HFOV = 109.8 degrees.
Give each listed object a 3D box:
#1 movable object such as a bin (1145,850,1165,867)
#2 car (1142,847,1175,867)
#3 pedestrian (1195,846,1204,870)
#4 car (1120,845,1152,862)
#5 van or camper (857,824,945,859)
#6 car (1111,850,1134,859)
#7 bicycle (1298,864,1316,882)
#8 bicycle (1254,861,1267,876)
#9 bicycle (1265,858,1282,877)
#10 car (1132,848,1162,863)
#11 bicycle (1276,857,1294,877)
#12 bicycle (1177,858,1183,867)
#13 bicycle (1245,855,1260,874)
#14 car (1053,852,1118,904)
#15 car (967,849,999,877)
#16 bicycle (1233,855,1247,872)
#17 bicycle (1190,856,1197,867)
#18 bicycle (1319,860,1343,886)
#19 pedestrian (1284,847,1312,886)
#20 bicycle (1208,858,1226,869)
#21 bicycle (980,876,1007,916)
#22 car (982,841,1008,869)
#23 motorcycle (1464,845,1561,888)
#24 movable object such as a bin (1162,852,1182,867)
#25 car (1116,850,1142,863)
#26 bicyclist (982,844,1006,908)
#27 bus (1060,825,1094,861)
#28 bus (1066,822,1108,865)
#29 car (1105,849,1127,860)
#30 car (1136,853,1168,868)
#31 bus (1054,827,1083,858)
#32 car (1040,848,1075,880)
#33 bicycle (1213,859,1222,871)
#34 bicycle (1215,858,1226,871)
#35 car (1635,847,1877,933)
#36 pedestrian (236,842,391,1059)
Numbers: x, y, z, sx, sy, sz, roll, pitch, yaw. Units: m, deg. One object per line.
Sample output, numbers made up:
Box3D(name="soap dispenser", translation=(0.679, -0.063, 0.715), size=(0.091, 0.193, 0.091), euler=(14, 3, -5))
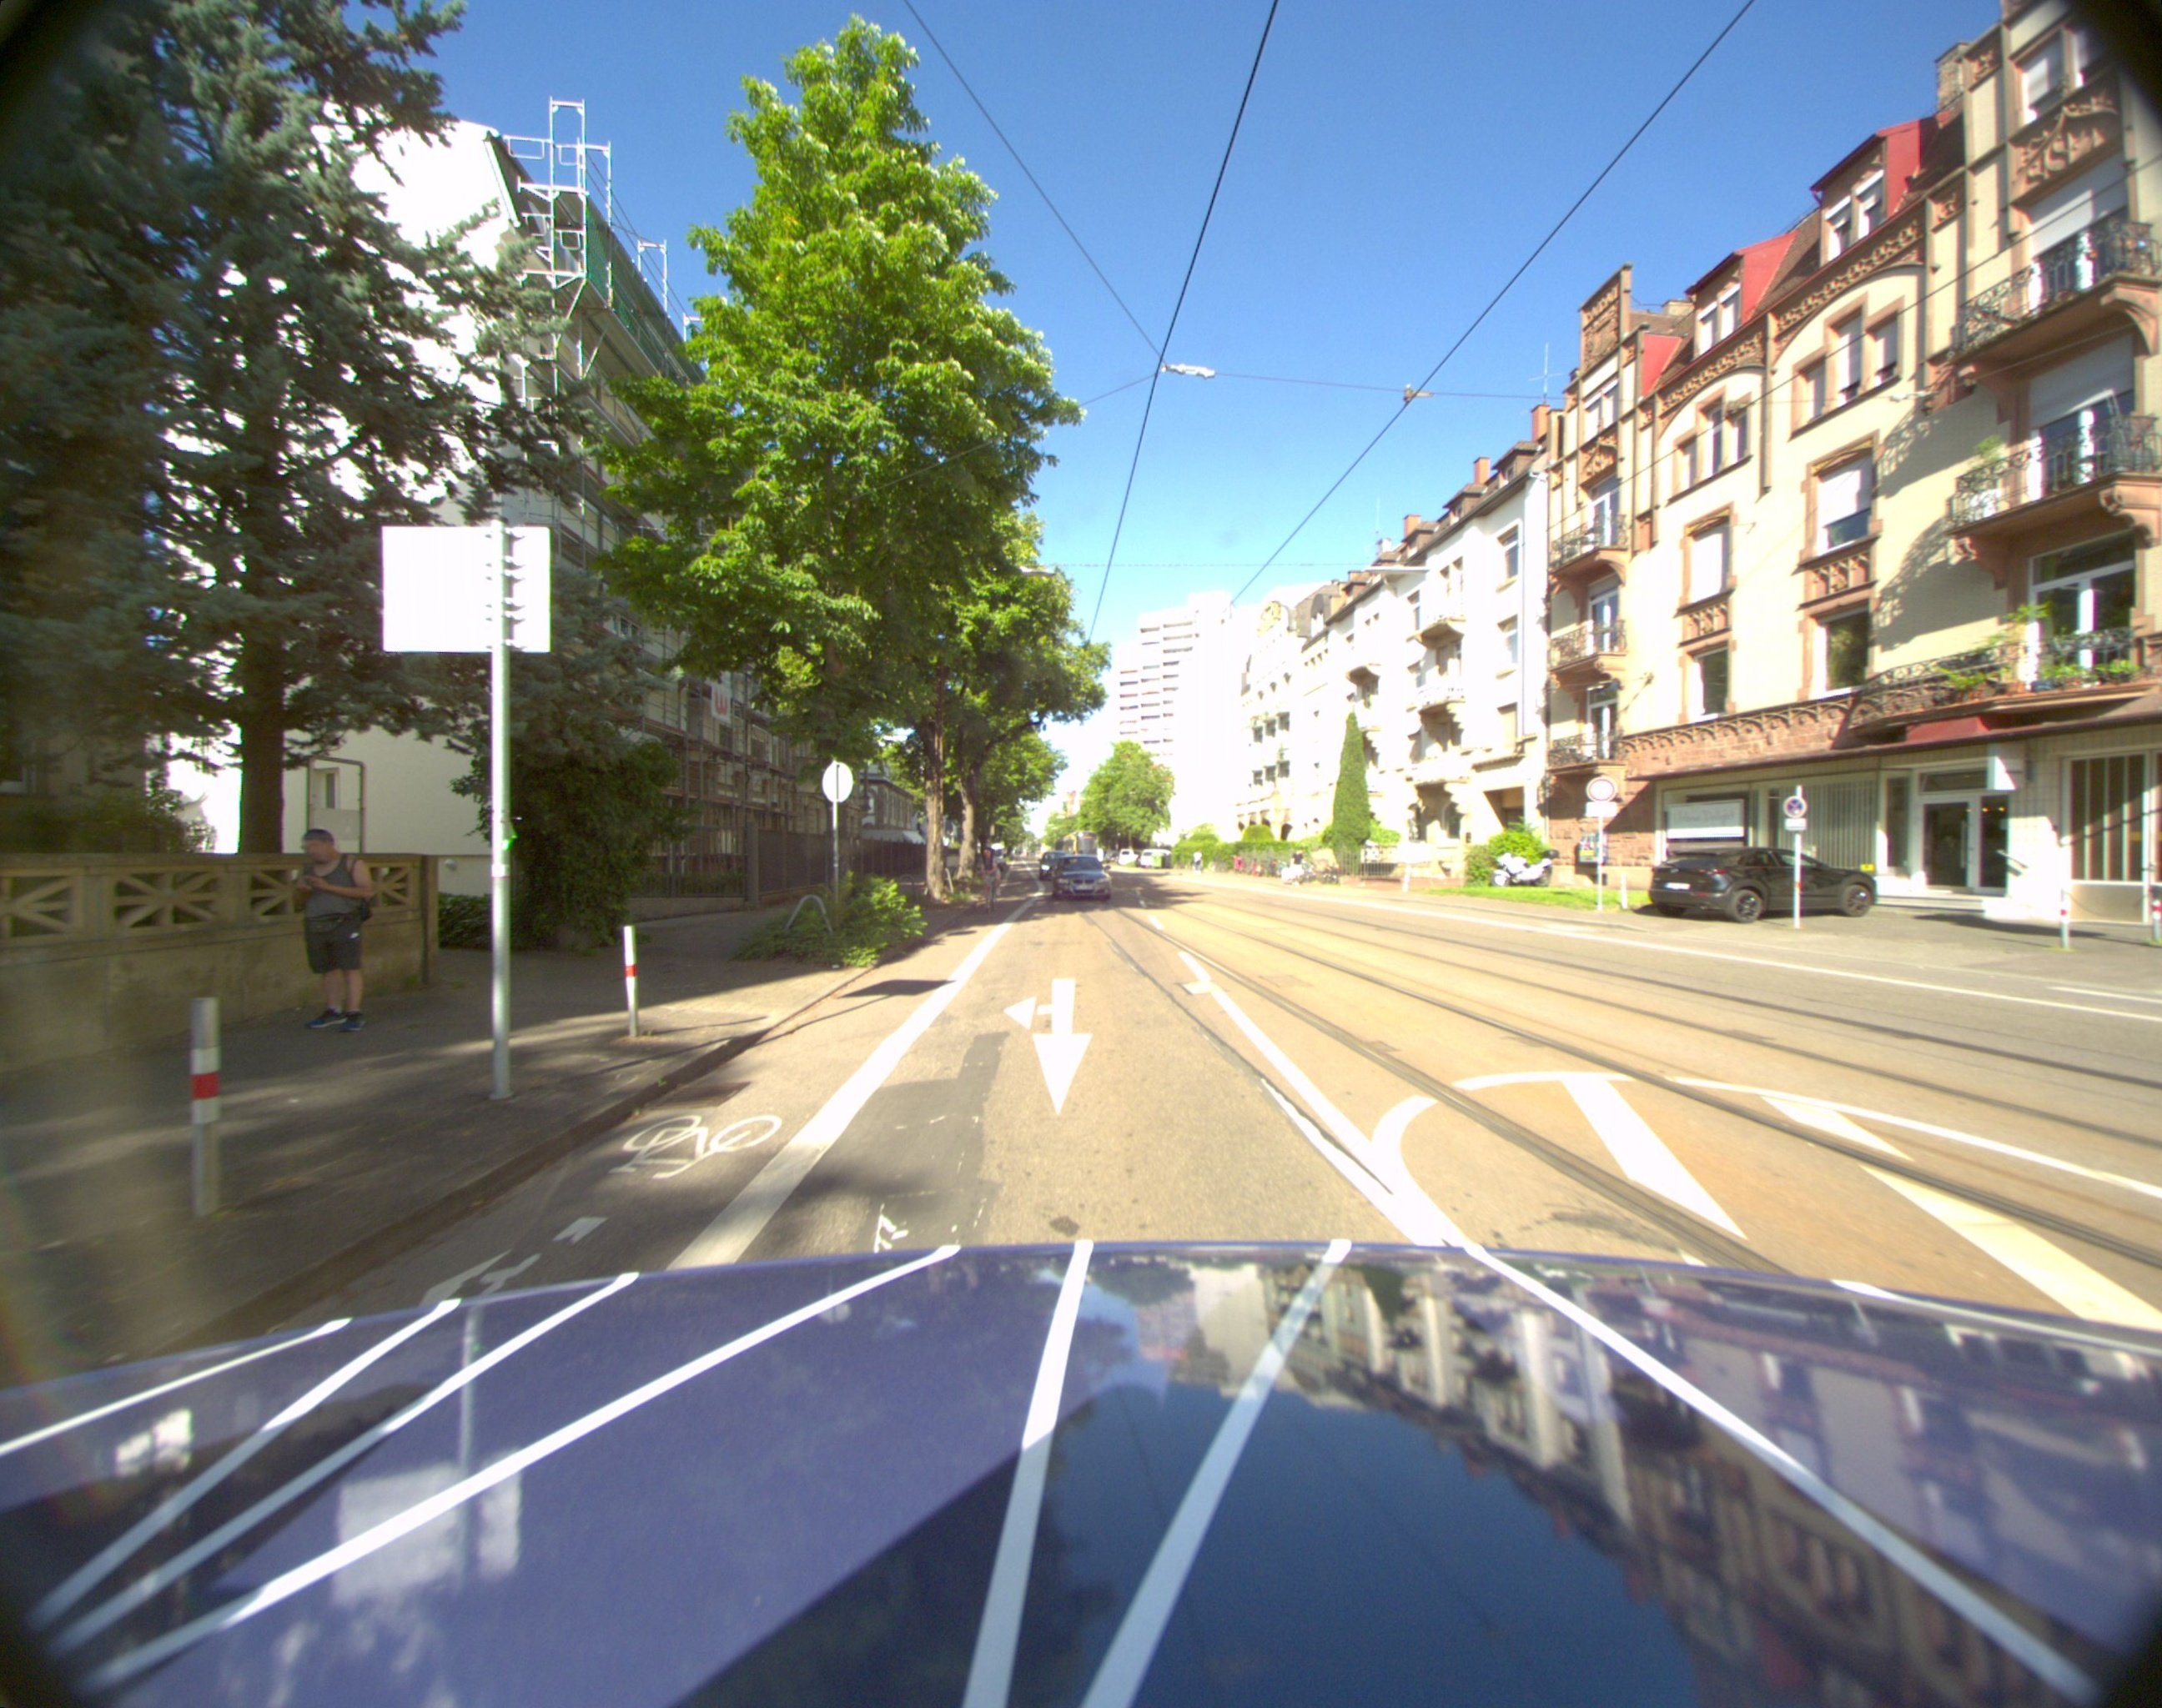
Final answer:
Box3D(name="movable object such as a bin", translation=(6.766, 0.383, 69.582), size=(1.513, 1.424, 2.095), euler=(-1, 1, -3))
Box3D(name="car", translation=(7.468, 0.297, 73.031), size=(1.456, 1.763, 3.194), euler=(0, -1, 42))
Box3D(name="pedestrian", translation=(8.199, 0.293, 52.685), size=(0.476, 1.619, 0.659), euler=(-1, 2, -3))
Box3D(name="car", translation=(6.301, -0.035, 86.444), size=(1.917, 1.860, 3.450), euler=(0, 2, 42))
Box3D(name="van or camper", translation=(-14.287, -0.962, 60.295), size=(6.722, 2.612, 2.126), euler=(-1, 2, 21))
Box3D(name="car", translation=(5.448, 0.087, 98.997), size=(2.758, 1.083, 1.225), euler=(-1, 2, -19))
Box3D(name="bicycle", translation=(10.506, 0.879, 35.354), size=(0.318, 0.757, 1.651), euler=(-1, 1, -2))
Box3D(name="bicycle", translation=(10.013, 0.817, 42.436), size=(0.318, 0.757, 1.542), euler=(-1, 1, -3))
Box3D(name="bicycle", translation=(10.299, 0.723, 40.657), size=(0.405, 0.937, 1.648), euler=(-1, 1, -3))
Box3D(name="car", translation=(6.915, 0.121, 79.335), size=(2.758, 1.427, 1.457), euler=(-1, 2, -19))
Box3D(name="bicycle", translation=(10.449, 0.667, 38.921), size=(0.405, 0.937, 1.748), euler=(-1, 1, -3))
Box3D(name="bicycle", translation=(8.320, 0.711, 63.880), size=(0.297, 0.757, 1.262), euler=(-1, 1, -3))
Box3D(name="bicycle", translation=(9.951, 0.586, 44.184), size=(0.405, 1.018, 1.815), euler=(-1, 1, -3))
Box3D(name="car", translation=(0.049, 0.713, 24.366), size=(1.870, 1.426, 3.998), euler=(-1, 1, -3))
Box3D(name="car", translation=(-6.111, 0.534, 47.667), size=(1.878, 1.534, 4.362), euler=(1, 1, -6))
Box3D(name="bicycle", translation=(9.700, 0.564, 46.477), size=(0.405, 1.018, 1.815), euler=(-1, 1, -3))
Box3D(name="bicycle", translation=(8.738, 0.575, 59.141), size=(0.297, 0.757, 1.262), euler=(-1, 1, -3))
Box3D(name="bicycle", translation=(10.904, 0.801, 33.134), size=(0.405, 1.033, 1.748), euler=(-1, 1, -3))
Box3D(name="pedestrian", translation=(9.659, 0.537, 33.813), size=(0.869, 1.619, 0.870), euler=(-5, 2, -3))
Box3D(name="bicycle", translation=(9.957, 0.710, 55.611), size=(1.262, 0.789, 0.297), euler=(-1, 2, -2))
Box3D(name="bicycle", translation=(-2.316, 1.098, 20.302), size=(0.535, 0.917, 2.056), euler=(-1, 1, -2))
Box3D(name="car", translation=(-7.449, 0.043, 66.297), size=(2.133, 2.329, 5.801), euler=(1, 1, -6))
Box3D(name="motorcycle", translation=(15.371, 0.442, 27.081), size=(3.093, 1.448, 0.823), euler=(-1, 2, -5))
Box3D(name="movable object such as a bin", translation=(8.422, 0.463, 70.648), size=(1.501, 1.309, 2.095), euler=(-1, 1, -3))
Box3D(name="car", translation=(5.676, 0.267, 89.847), size=(2.758, 1.427, 1.457), euler=(-1, 2, -19))
Box3D(name="bicyclist", translation=(-2.320, 0.569, 20.232), size=(0.532, 1.660, 0.877), euler=(-1, 2, -2))
Box3D(name="bus", translation=(-0.559, -1.268, 85.655), size=(2.868, 3.756, 11.175), euler=(-1, 1, -5))
Box3D(name="bus", translation=(0.411, -1.040, 74.009), size=(2.858, 3.756, 12.189), euler=(-1, 1, -5))
Box3D(name="car", translation=(4.940, 0.070, 106.178), size=(2.758, 1.417, 1.225), euler=(-1, 2, -19))
Box3D(name="car", translation=(7.117, 0.618, 75.989), size=(2.758, 1.427, 1.457), euler=(-1, 2, -19))
Box3D(name="bus", translation=(-1.646, -1.511, 96.958), size=(2.868, 3.756, 11.490), euler=(-1, 1, -5))
Box3D(name="car", translation=(-1.307, 0.495, 41.388), size=(1.829, 1.559, 3.998), euler=(-1, 1, -3))
Box3D(name="bicycle", translation=(9.399, 0.766, 52.430), size=(0.339, 0.757, 1.262), euler=(-1, 1, -3))
Box3D(name="bicycle", translation=(9.349, 0.698, 50.893), size=(0.405, 0.757, 1.581), euler=(-1, 1, -3))
Box3D(name="car", translation=(14.442, 0.710, 16.351), size=(4.000, 1.494, 1.770), euler=(-3, 2, -9))
Box3D(name="pedestrian", translation=(-6.184, 0.742, 6.158), size=(0.593, 1.662, 0.646), euler=(2, 2, -3))
